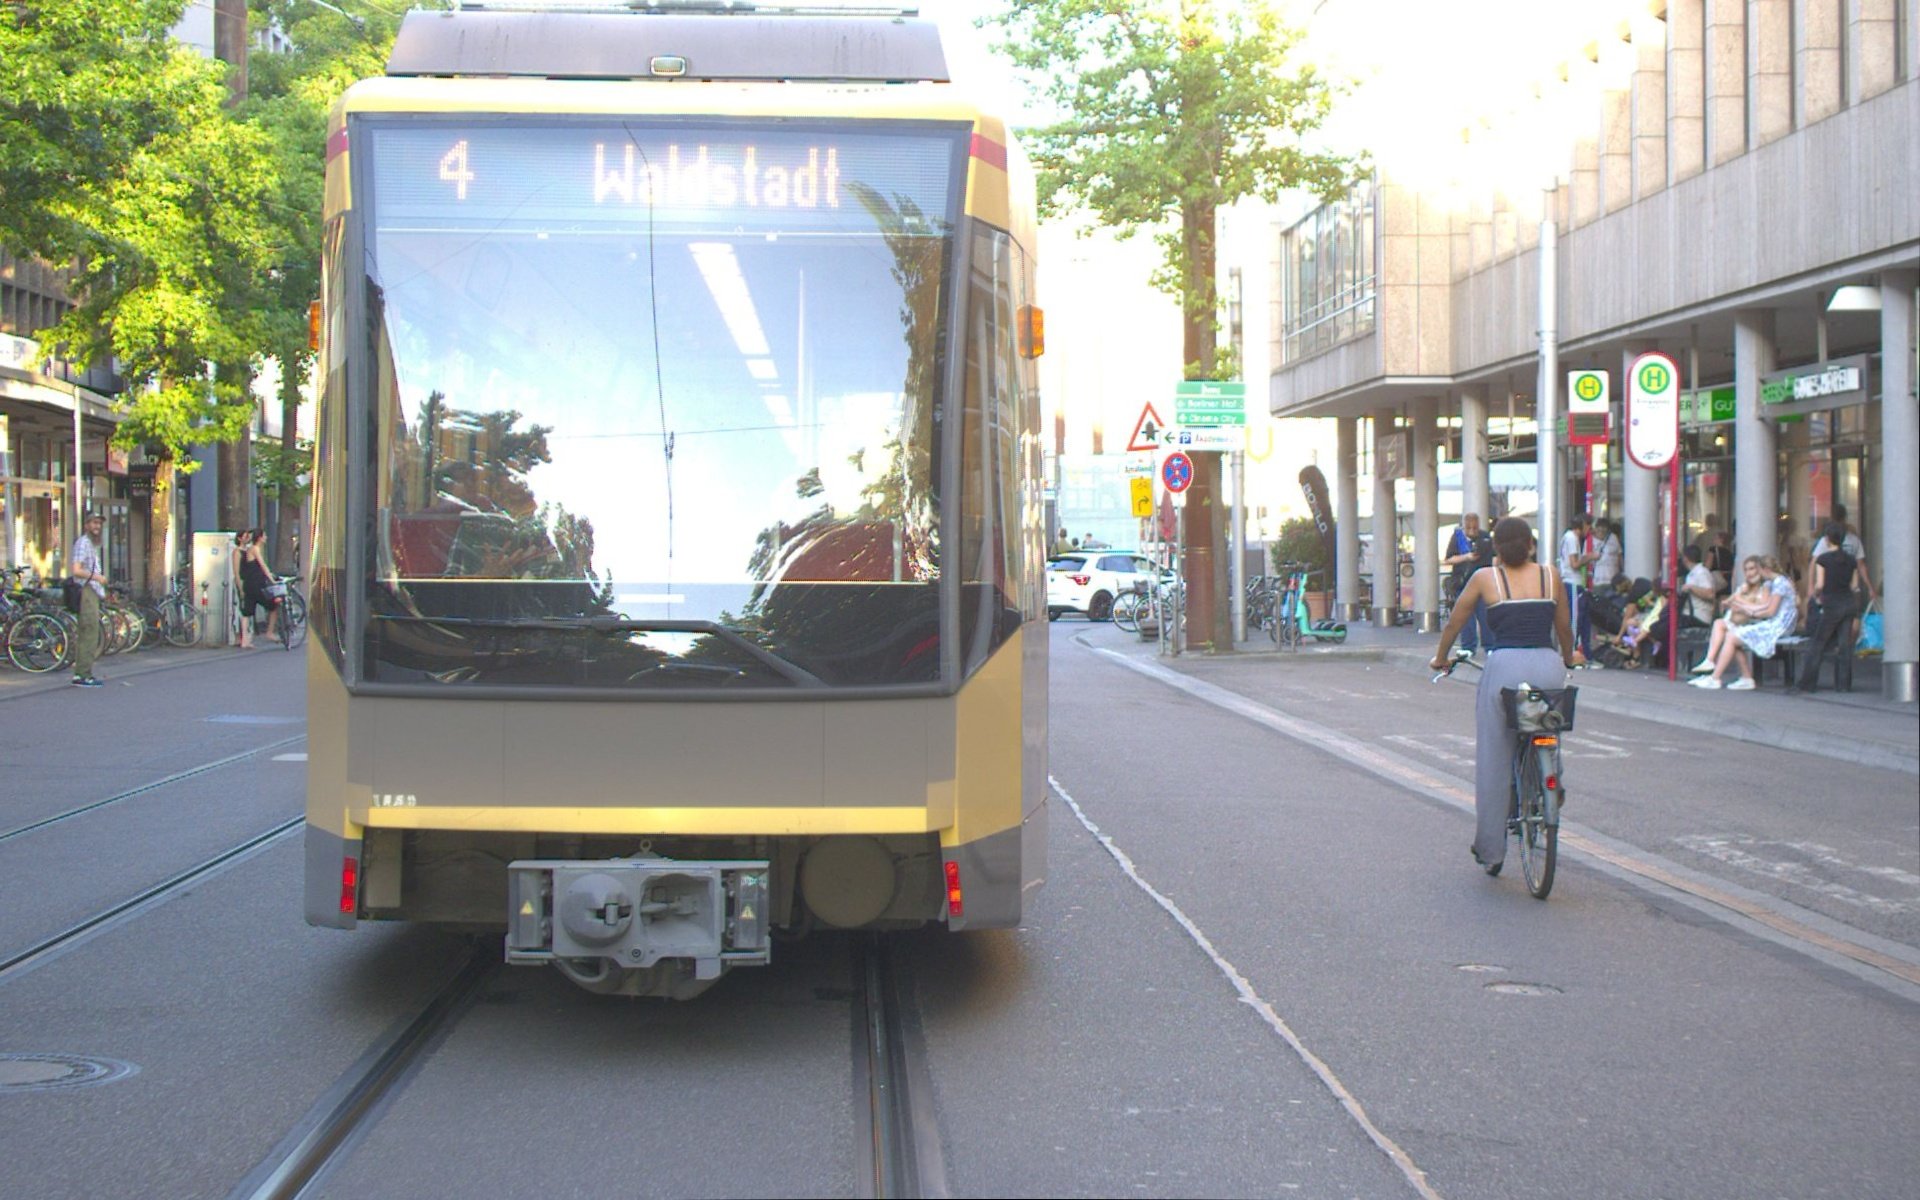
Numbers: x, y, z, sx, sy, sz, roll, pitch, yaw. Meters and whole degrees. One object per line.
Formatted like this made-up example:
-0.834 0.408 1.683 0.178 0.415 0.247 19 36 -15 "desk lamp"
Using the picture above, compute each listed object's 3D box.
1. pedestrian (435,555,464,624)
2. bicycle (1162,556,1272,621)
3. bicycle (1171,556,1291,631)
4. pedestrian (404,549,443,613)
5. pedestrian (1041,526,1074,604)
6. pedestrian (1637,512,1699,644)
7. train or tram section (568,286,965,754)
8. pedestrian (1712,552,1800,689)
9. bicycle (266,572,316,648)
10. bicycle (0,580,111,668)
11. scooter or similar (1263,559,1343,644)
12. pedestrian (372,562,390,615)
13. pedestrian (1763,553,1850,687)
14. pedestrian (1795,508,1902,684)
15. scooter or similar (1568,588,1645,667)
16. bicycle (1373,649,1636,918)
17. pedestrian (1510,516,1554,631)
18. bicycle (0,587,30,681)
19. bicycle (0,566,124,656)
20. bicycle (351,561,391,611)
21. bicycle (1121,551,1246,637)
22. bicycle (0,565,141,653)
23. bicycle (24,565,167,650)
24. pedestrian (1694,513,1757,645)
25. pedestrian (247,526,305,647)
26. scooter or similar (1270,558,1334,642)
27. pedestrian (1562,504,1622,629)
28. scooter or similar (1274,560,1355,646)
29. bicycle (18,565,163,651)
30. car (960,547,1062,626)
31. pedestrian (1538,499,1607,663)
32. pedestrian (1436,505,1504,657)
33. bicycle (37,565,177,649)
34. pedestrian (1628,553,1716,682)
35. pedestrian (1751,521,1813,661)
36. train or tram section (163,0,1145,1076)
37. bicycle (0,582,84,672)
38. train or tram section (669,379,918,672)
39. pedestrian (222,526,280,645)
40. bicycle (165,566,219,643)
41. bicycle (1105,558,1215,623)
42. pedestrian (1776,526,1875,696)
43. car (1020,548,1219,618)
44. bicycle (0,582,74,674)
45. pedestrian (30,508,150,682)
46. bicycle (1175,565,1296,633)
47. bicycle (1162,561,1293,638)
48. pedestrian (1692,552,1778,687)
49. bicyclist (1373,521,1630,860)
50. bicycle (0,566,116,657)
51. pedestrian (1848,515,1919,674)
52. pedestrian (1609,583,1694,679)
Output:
-11.033 -0.228 74.330 0.603 1.489 0.555 0 0 -9 "pedestrian"
4.586 -0.214 61.313 1.852 1.105 0.667 -2 1 -4 "bicycle"
4.688 -0.116 59.588 1.914 1.218 0.763 -2 1 -6 "bicycle"
-12.179 -0.426 77.999 0.555 1.429 0.684 0 0 36 "pedestrian"
2.174 -0.776 76.644 0.718 1.719 0.709 0 0 0 "pedestrian"
9.683 -0.301 47.047 0.663 1.781 0.719 -1 0 -1 "pedestrian"
-1.622 -0.702 31.579 2.800 3.308 14.510 0 1 -2 "train or tram section"
7.742 0.194 33.453 0.718 1.310 0.524 1 0 0 "pedestrian"
-9.547 0.134 49.108 0.488 1.041 1.778 1 1 -4 "bicycle"
-10.943 0.279 40.484 1.771 0.986 0.489 1 2 -7 "bicycle"
5.214 0.022 52.296 1.187 1.247 0.393 -2 2 -31 "scooter or similar"
-16.899 -0.322 100.366 0.508 1.542 0.518 0 0 -9 "pedestrian"
8.394 0.196 34.116 0.718 1.310 0.532 1 0 0 "pedestrian"
9.193 -0.046 35.579 0.844 1.791 0.859 -1 0 -1 "pedestrian"
7.459 0.316 39.657 0.834 0.881 0.686 2 0 13 "scooter or similar"
2.476 0.806 15.881 0.815 1.069 2.113 2 1 -1 "bicycle"
9.013 -0.417 54.157 0.539 1.800 0.604 -1 1 -2 "pedestrian"
-10.665 0.325 35.979 1.773 0.962 0.489 2 0 15 "bicycle"
-11.360 0.128 42.822 1.771 1.067 0.489 2 1 -7 "bicycle"
-13.577 -0.331 79.239 0.498 1.104 1.800 0 2 4 "bicycle"
3.693 -0.102 56.818 1.914 1.328 0.726 -2 1 -6 "bicycle"
-11.445 0.115 44.062 1.771 1.067 0.489 2 1 -7 "bicycle"
-11.518 0.098 45.826 1.771 1.067 0.489 2 1 -7 "bicycle"
10.469 -0.285 47.031 0.663 1.781 0.719 -1 0 -1 "pedestrian"
-9.727 -0.199 48.895 0.602 1.693 0.535 1 1 28 "pedestrian"
5.262 -0.004 52.886 0.393 1.247 1.189 0 2 37 "scooter or similar"
8.508 -0.450 46.287 0.648 1.655 0.650 -1 1 -1 "pedestrian"
5.308 0.045 51.497 1.112 1.247 0.497 -2 2 -32 "scooter or similar"
-11.447 0.104 45.282 1.771 1.067 0.489 2 1 -7 "bicycle"
0.904 -0.232 63.218 1.769 1.404 4.052 0 0 -1 "car"
6.932 -0.218 38.923 0.639 1.833 0.668 -1 0 0 "pedestrian"
6.236 -0.232 42.068 0.668 1.833 0.708 -1 0 -2 "pedestrian"
-11.527 0.091 46.478 1.771 1.067 0.489 2 1 -7 "bicycle"
7.754 0.185 37.458 0.813 1.376 0.662 1 0 0 "pedestrian"
10.247 -0.117 42.863 0.570 1.725 0.617 -1 1 -2 "pedestrian"
-1.121 -0.432 17.103 2.800 3.308 14.510 0 1 -2 "train or tram section"
-10.910 0.293 39.072 1.771 0.986 0.489 1 2 -7 "bicycle"
-2.132 -0.973 46.094 2.800 3.308 14.510 0 1 -2 "train or tram section"
-10.187 -0.209 49.422 0.602 1.693 0.535 1 1 28 "pedestrian"
-10.911 0.056 48.889 0.488 1.041 1.778 1 1 -4 "bicycle"
3.553 -0.171 61.013 1.852 1.105 0.667 -2 1 -4 "bicycle"
8.136 0.100 32.344 0.724 1.565 0.736 -1 0 0 "pedestrian"
3.332 -0.347 71.483 3.889 1.404 1.775 1 0 -38 "car"
-10.886 0.298 38.544 1.771 0.986 0.489 1 2 -7 "bicycle"
-9.107 -0.055 35.996 0.990 1.786 0.820 1 0 45 "pedestrian"
4.707 -0.019 58.843 1.914 1.074 0.763 -2 1 -6 "bicycle"
4.346 -0.011 55.933 1.995 1.151 0.726 -2 1 -6 "bicycle"
7.657 0.188 33.990 0.718 1.310 0.532 1 0 0 "pedestrian"
2.481 0.398 15.861 0.997 1.497 0.857 2 1 -1 "bicyclist"
-11.323 0.134 42.245 1.771 1.067 0.489 2 1 -7 "bicycle"
10.202 -0.065 37.991 0.570 1.725 0.617 -1 1 -2 "pedestrian"
7.674 0.340 38.161 0.813 1.039 0.544 1 0 0 "pedestrian"
